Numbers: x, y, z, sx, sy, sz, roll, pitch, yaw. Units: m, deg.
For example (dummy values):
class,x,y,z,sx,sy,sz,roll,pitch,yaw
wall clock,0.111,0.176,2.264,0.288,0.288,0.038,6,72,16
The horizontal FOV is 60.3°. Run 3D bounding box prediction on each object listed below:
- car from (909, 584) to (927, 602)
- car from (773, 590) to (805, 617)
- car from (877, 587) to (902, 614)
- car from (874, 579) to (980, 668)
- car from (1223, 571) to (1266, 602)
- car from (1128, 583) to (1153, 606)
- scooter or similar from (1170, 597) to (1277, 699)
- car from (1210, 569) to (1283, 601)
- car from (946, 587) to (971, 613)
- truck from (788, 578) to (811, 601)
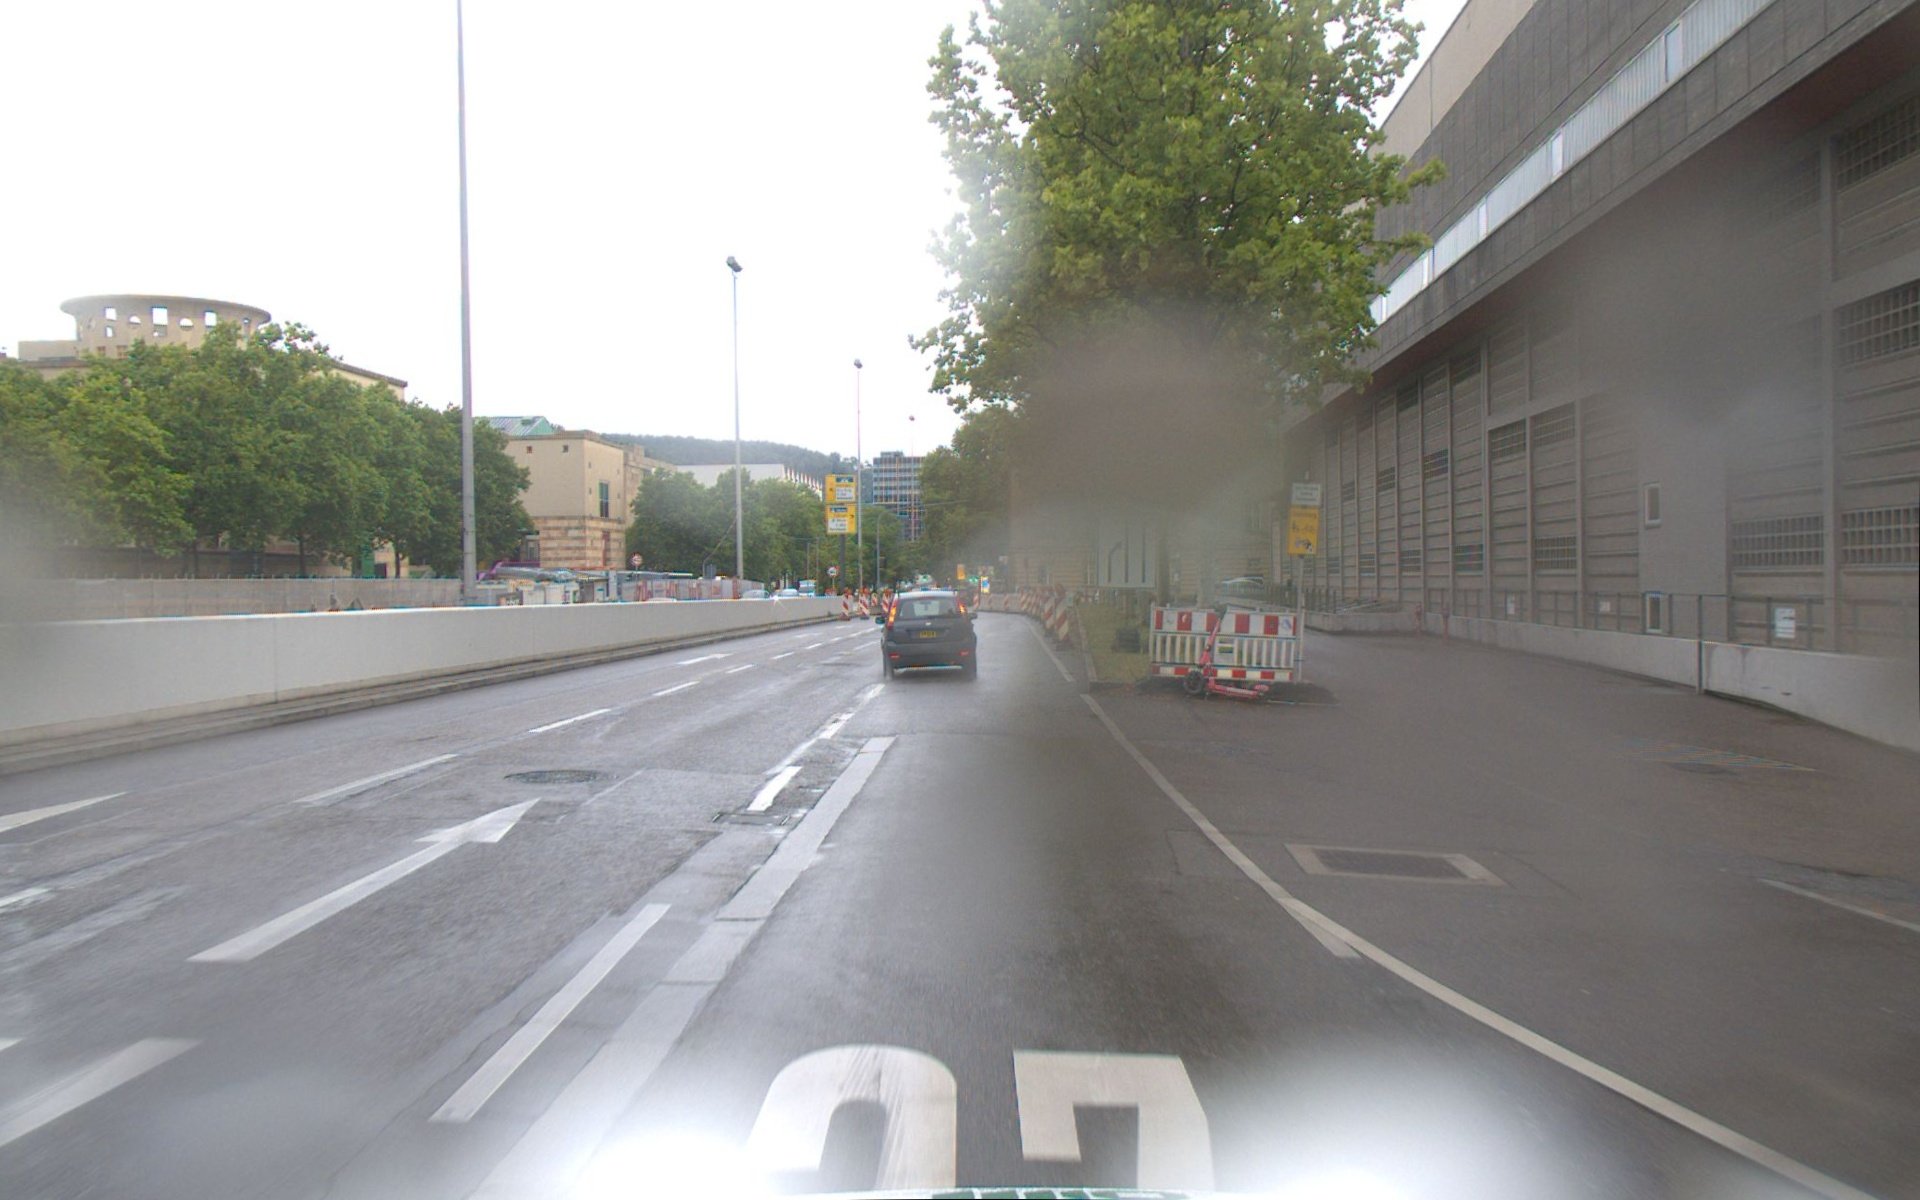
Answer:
class,x,y,z,sx,sy,sz,roll,pitch,yaw
car,-5.074,-0.810,198.676,1.954,2.049,3.997,1,-1,-3
car,-13.175,0.262,127.976,1.952,2.049,4.001,1,0,1
car,-3.914,0.036,91.785,1.358,1.410,3.065,-2,-1,-3
car,-0.645,0.363,29.364,1.637,1.452,3.754,-1,1,-5
car,17.897,-0.838,104.241,1.952,1.790,5.097,-1,-1,2
car,14.406,-0.437,132.039,1.951,1.738,4.002,0,-1,6
scooter or similar,3.465,0.633,21.822,1.327,1.308,0.619,1,-2,3
car,16.678,-0.850,96.340,3.904,1.587,1.933,-2,-3,2
car,-0.109,-0.035,135.662,1.952,2.049,4.001,0,1,1
truck,-17.981,-1.167,184.924,2.368,2.380,5.434,1,-1,-8
